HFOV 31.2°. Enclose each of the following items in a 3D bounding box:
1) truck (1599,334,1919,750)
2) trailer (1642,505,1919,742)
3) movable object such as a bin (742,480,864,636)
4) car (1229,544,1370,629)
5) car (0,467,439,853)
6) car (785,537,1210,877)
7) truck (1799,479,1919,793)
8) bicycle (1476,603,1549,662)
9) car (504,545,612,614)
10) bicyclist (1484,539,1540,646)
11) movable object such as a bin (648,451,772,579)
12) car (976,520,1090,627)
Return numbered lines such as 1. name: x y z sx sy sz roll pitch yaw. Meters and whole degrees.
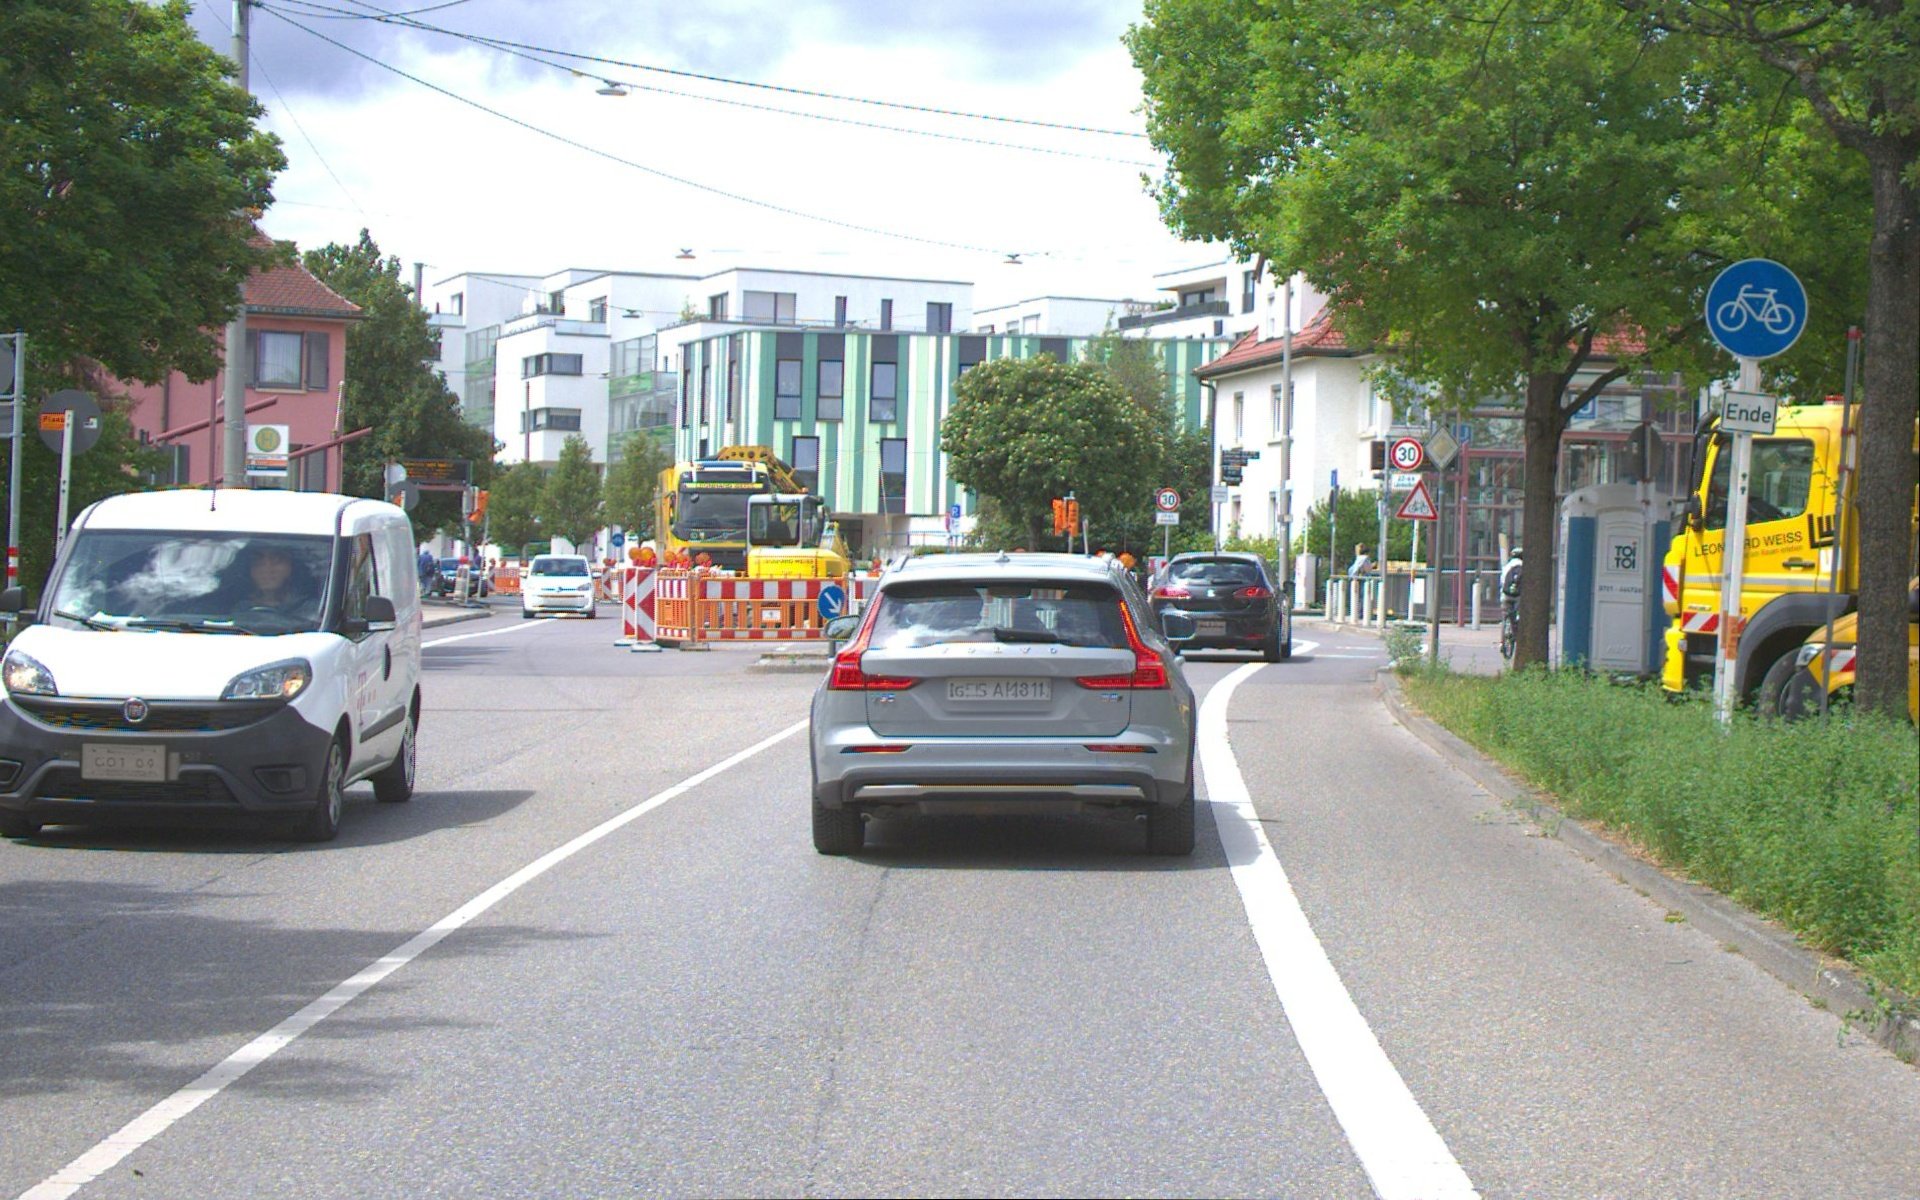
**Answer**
1. truck: 8.397 -0.316 25.261 6.703 2.998 2.762 3 -1 44
2. trailer: 8.219 0.213 33.172 2.389 2.025 5.512 3 0 3
3. movable object such as a bin: -2.824 -0.767 62.009 2.034 2.634 5.940 1 1 -2
4. car: 6.730 -0.247 68.557 2.102 1.505 4.000 4 -1 -3
5. car: -4.112 0.300 18.977 1.848 1.869 4.594 0 0 -1
6. car: 0.256 0.460 17.711 1.928 1.535 4.000 1 1 3
7. truck: 8.299 0.375 21.419 1.994 2.007 5.675 5 -1 -44
8. bicycle: 8.181 0.478 50.964 0.594 0.809 1.754 4 0 -5
9. car: -9.246 -0.445 79.387 1.888 1.503 4.000 -1 -1 2
10. bicyclist: 8.206 -0.110 51.128 0.589 1.553 0.567 4 -1 -5
11. movable object such as a bin: -6.241 -2.080 85.090 2.310 2.980 6.429 1 1 -10
12. car: 1.559 -0.521 71.910 1.994 2.007 3.999 4 -1 5
